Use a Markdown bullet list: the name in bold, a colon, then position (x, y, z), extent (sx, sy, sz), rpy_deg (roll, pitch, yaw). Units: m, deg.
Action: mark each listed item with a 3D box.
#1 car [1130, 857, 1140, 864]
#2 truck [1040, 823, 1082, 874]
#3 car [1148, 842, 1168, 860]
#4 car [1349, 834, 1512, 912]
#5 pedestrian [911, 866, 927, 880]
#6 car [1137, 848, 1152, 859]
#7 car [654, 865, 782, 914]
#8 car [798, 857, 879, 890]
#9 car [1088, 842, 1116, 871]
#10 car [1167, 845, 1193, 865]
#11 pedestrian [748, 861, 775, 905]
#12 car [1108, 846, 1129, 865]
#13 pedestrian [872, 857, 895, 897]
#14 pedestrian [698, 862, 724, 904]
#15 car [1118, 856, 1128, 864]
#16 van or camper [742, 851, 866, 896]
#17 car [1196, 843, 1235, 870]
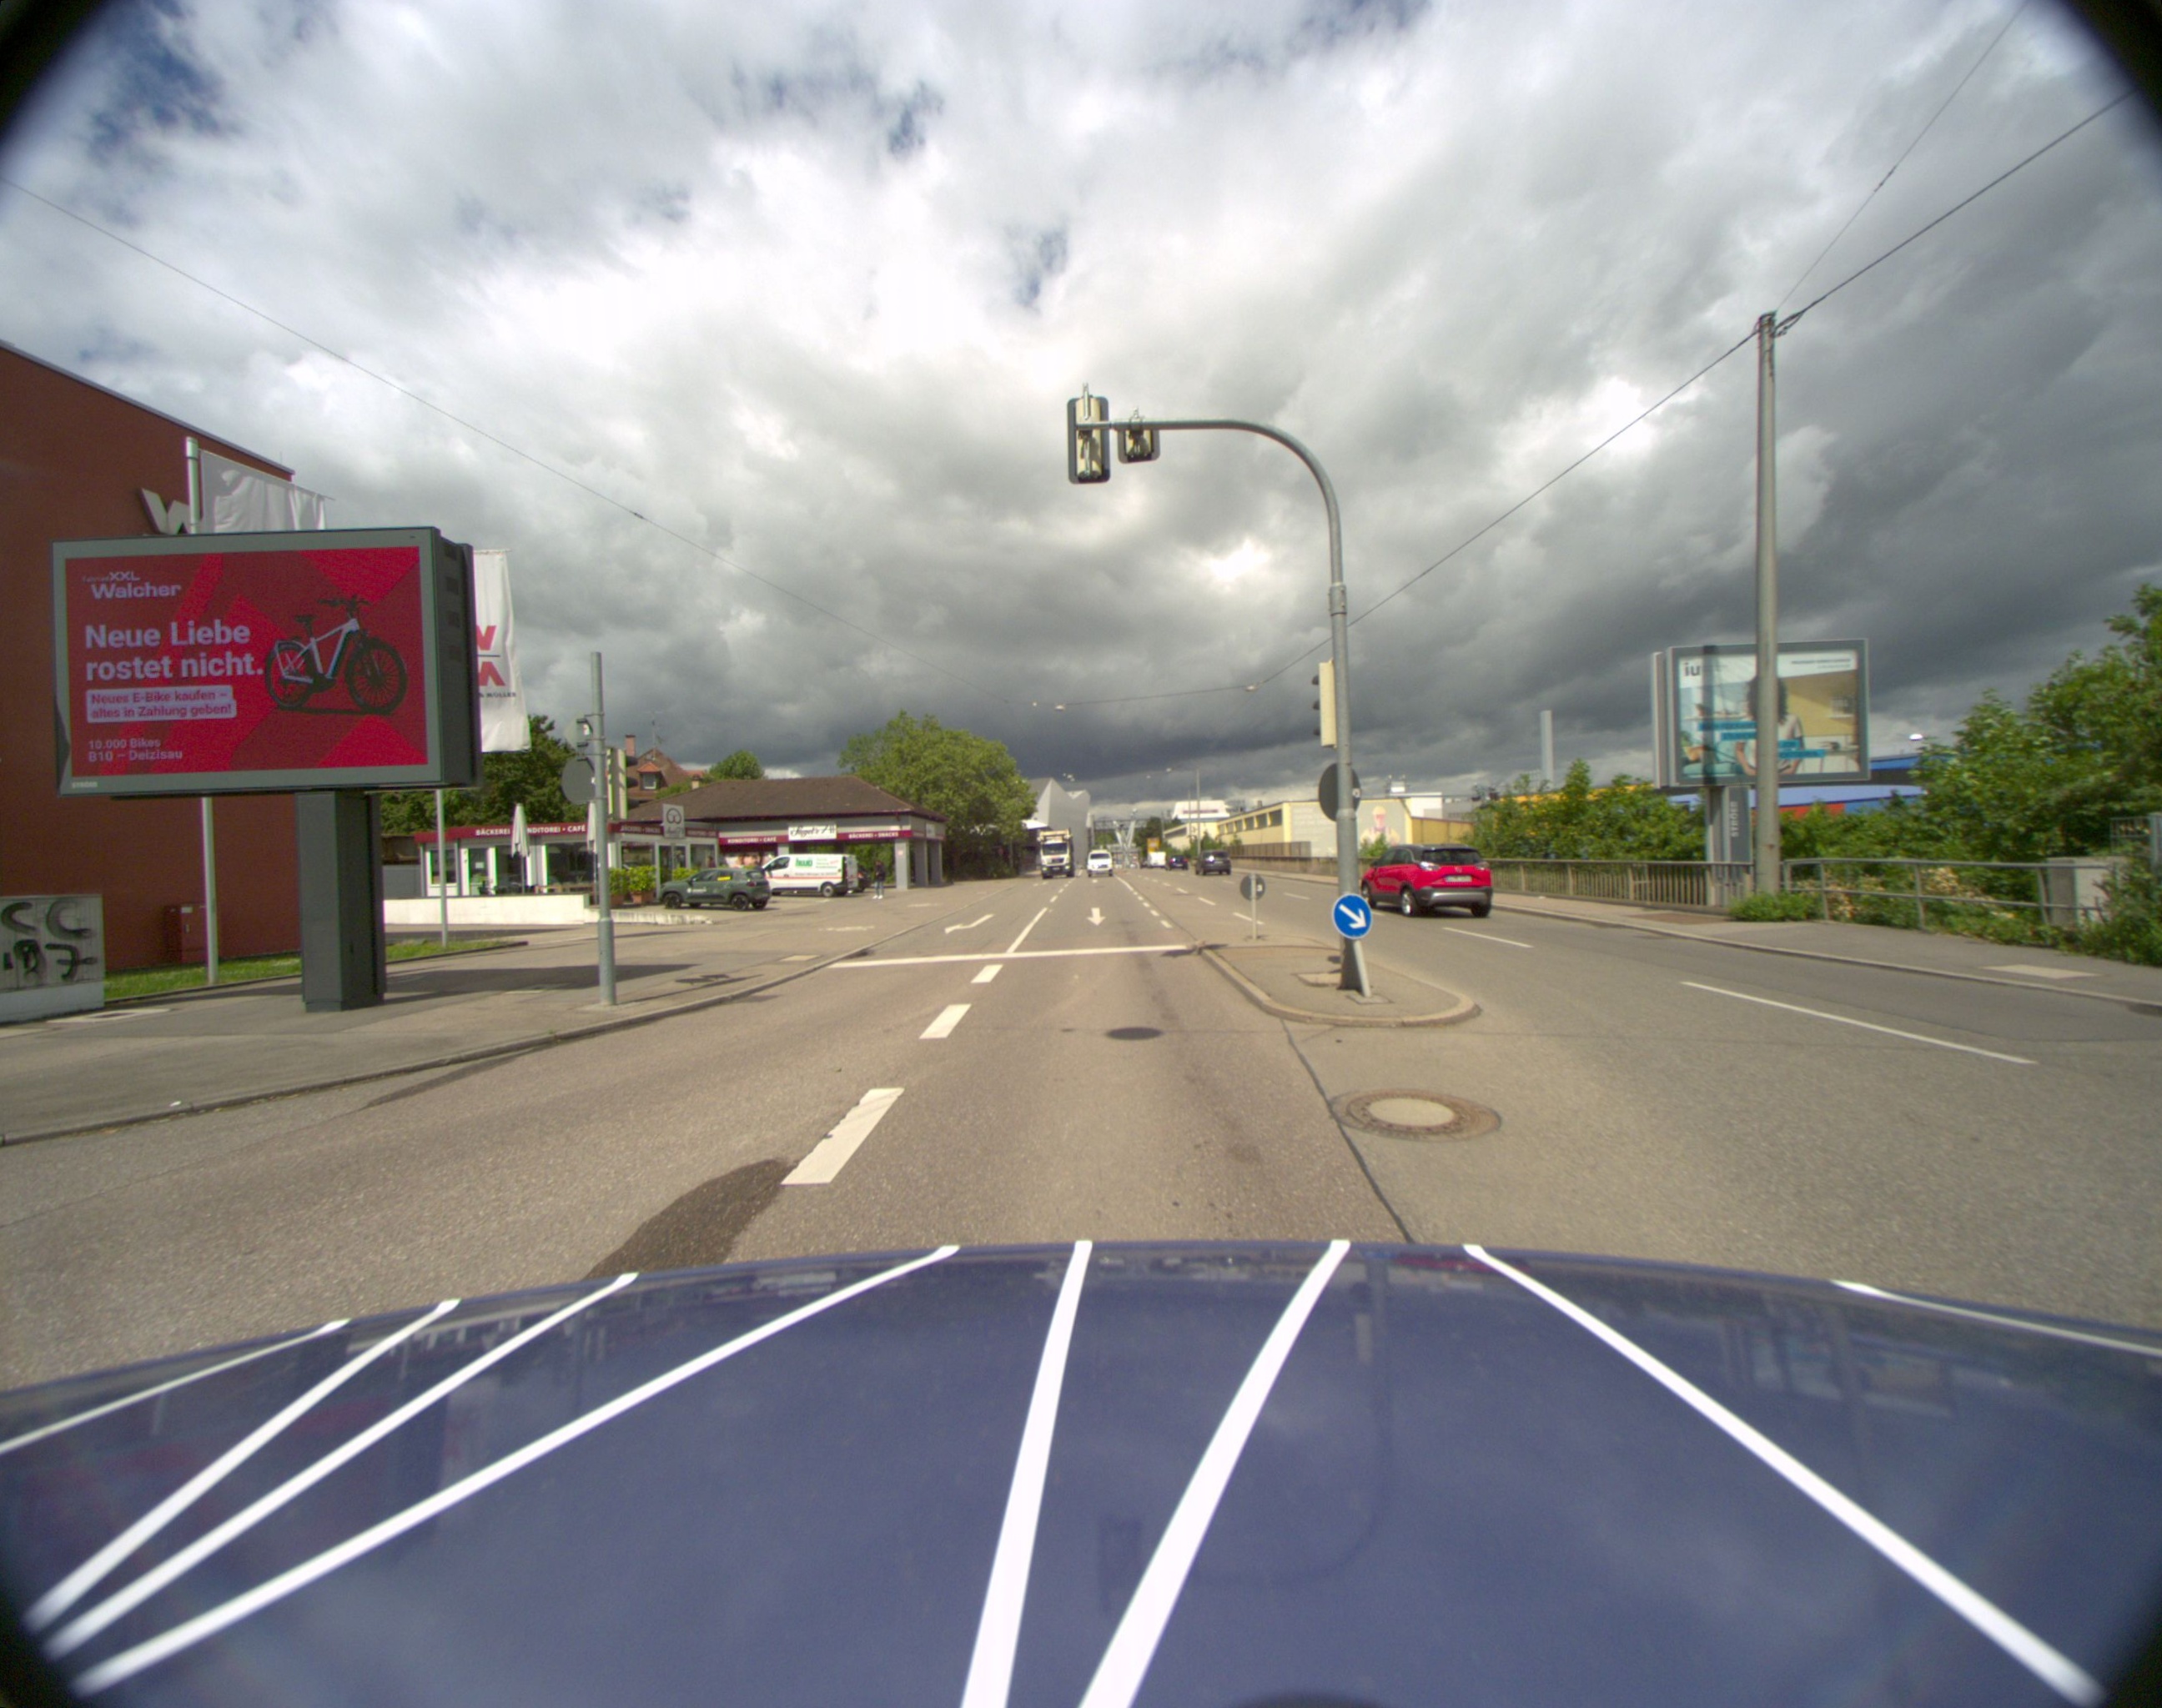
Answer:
- **car**: position (10.641, 1.346, 150.566), extent (1.612, 1.404, 3.799), rpy_deg (-1, 0, -1)
- **truck**: position (-1.529, -0.363, 63.810), extent (2.836, 3.888, 10.368), rpy_deg (-2, 0, 2)
- **car**: position (9.333, -0.382, 92.718), extent (1.896, 2.002, 5.650), rpy_deg (-2, 0, 0)
- **car**: position (7.881, 0.374, 17.619), extent (1.935, 1.590, 4.153), rpy_deg (0, 0, 1)
- **pedestrian**: position (-14.391, 1.677, 67.375), extent (0.884, 1.241, 0.967), rpy_deg (-2, 0, 30)
- **car**: position (9.059, -0.084, 108.660), extent (1.612, 1.404, 3.799), rpy_deg (-2, 0, -1)
- **car**: position (-12.830, 1.225, 26.990), extent (3.675, 1.477, 1.762), rpy_deg (2, 1, 3)
- **car**: position (-12.127, 0.943, 38.164), extent (3.460, 1.477, 1.835), rpy_deg (2, 1, -1)
- **car**: position (1.611, 0.198, 57.740), extent (1.935, 2.078, 4.209), rpy_deg (-1, 0, 4)
- **car**: position (8.939, 0.090, 68.898), extent (1.860, 1.608, 4.000), rpy_deg (-2, 0, 1)
- **pedestrian**: position (-12.575, 1.120, 29.931), extent (0.712, 1.697, 0.631), rpy_deg (-1, 1, 28)
- **car**: position (3.621, 0.124, 74.147), extent (1.870, 1.782, 4.207), rpy_deg (-2, 0, 0)
- **pedestrian**: position (-8.639, 1.014, 33.229), extent (0.714, 1.697, 0.739), rpy_deg (-2, 1, 2)
- **pedestrian**: position (-15.356, 1.191, 31.528), extent (0.749, 1.697, 0.571), rpy_deg (-1, 1, 28)
- **car**: position (8.429, 1.212, 152.665), extent (1.806, 1.543, 3.770), rpy_deg (-2, 0, 0)
- **van or camper**: position (-12.753, 0.861, 35.203), extent (4.909, 1.946, 2.212), rpy_deg (1, 1, 1)
- **car**: position (8.723, 0.139, 49.677), extent (1.860, 1.608, 4.000), rpy_deg (-2, 0, 1)
